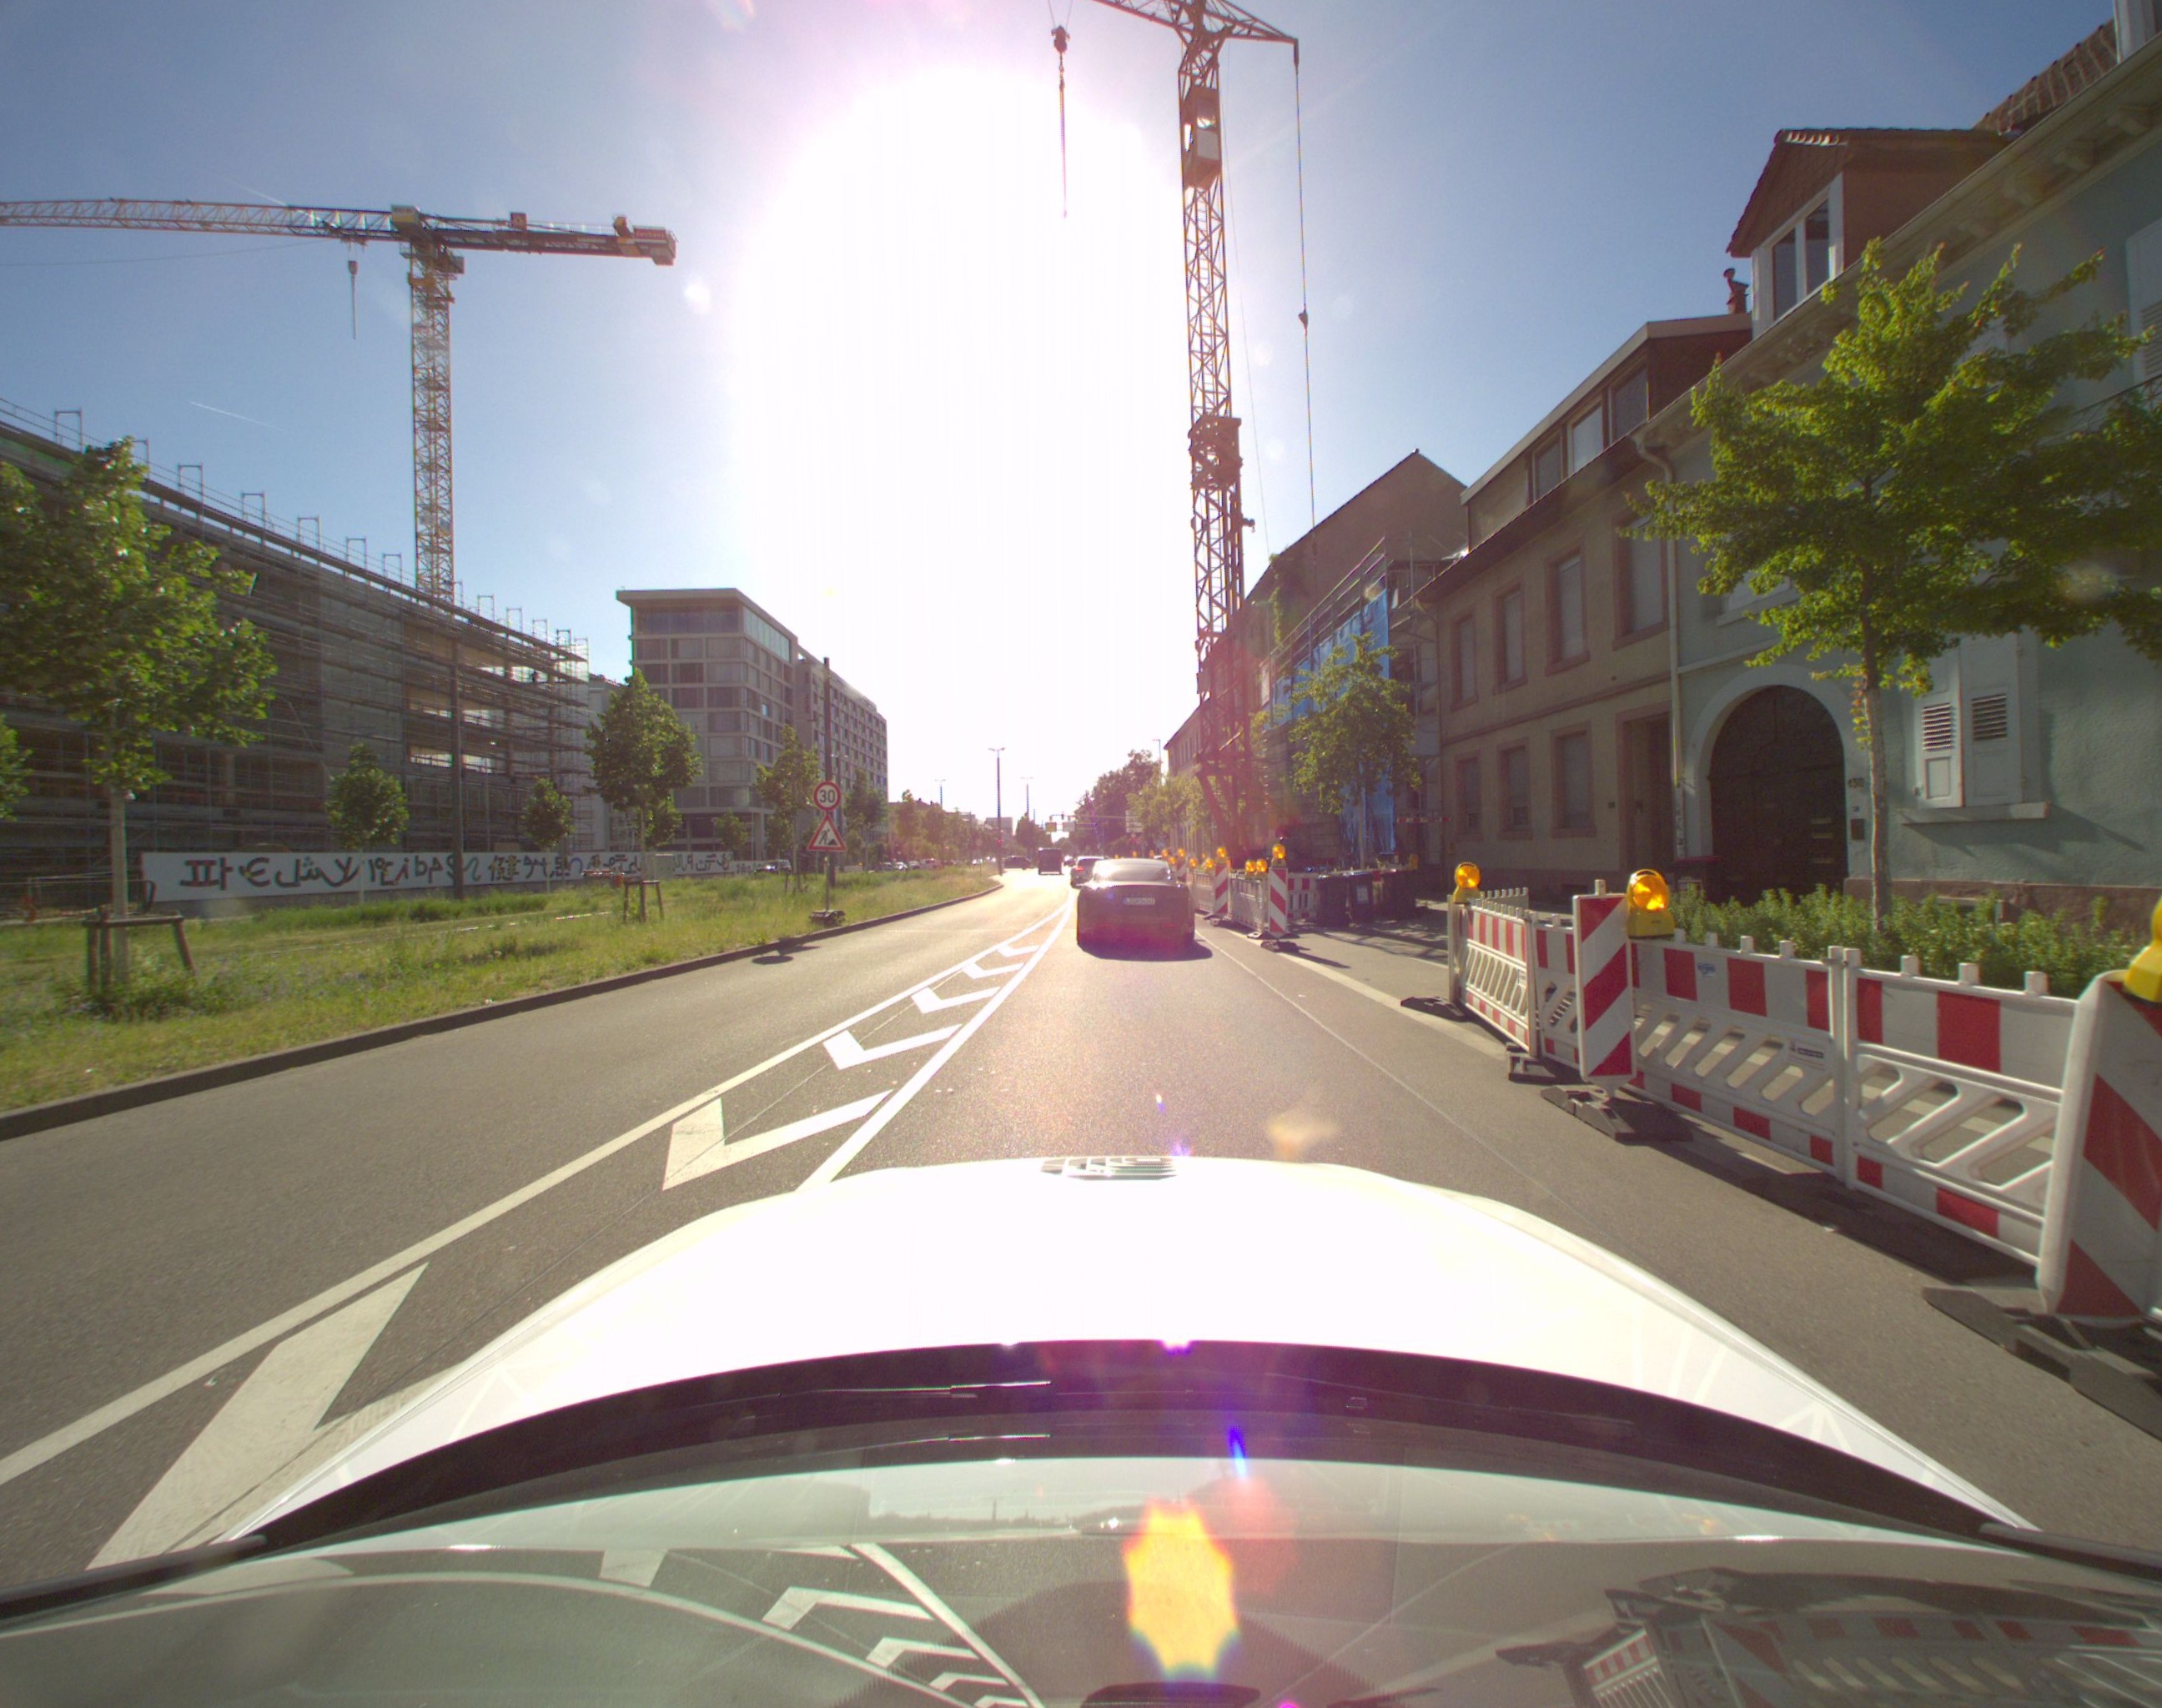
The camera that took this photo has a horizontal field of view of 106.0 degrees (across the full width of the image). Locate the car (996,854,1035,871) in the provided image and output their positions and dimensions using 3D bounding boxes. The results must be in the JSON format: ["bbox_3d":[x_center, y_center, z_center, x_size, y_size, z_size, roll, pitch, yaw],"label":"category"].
[{"bbox_3d":[-7.712,0.955,96.224,4.505,1.792,1.997,-2,0,-5],"label":"car"}]

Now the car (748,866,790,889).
[{"bbox_3d":[-29.376,2.208,76.726,1.899,1.918,4.335,-2,0,5],"label":"car"}]

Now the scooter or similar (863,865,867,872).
[{"bbox_3d":[-30.602,2.054,115.406,0.228,0.947,0.767,-2,0,0],"label":"scooter or similar"}]

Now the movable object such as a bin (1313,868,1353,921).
[{"bbox_3d":[5.267,0.844,17.043,0.586,1.058,0.730,-1,0,0],"label":"movable object such as a bin"}]

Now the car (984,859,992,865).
[{"bbox_3d":[-26.513,2.226,231.251,1.802,1.651,3.999,-2,0,0],"label":"car"}]

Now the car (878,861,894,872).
[{"bbox_3d":[-32.926,2.078,137.726,1.785,1.651,3.999,-2,0,0],"label":"car"}]

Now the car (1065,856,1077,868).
[{"bbox_3d":[-1.657,1.257,130.690,1.787,1.873,3.846,-1,0,-2],"label":"car"}]

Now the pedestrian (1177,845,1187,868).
[{"bbox_3d":[8.305,0.214,67.193,0.561,1.821,0.587,-5,0,-2],"label":"pedestrian"}]

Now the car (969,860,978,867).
[{"bbox_3d":[-29.763,2.586,225.450,1.785,1.651,3.999,-2,0,0],"label":"car"}]

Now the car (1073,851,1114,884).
[{"bbox_3d":[0.520,0.602,38.563,1.743,1.427,4.836,-1,0,-1],"label":"car"}]

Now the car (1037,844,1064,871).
[{"bbox_3d":[-2.601,0.270,70.301,2.212,2.267,4.481,-1,0,-2],"label":"car"}]

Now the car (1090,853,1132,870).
[{"bbox_3d":[3.534,0.900,96.024,4.476,1.792,2.009,-2,0,18],"label":"car"}]

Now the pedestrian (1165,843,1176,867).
[{"bbox_3d":[7.354,0.067,67.177,0.656,1.912,0.587,-5,0,-2],"label":"pedestrian"}]

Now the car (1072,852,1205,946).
[{"bbox_3d":[0.882,0.703,15.100,2.045,1.444,4.522,-1,0,-1],"label":"car"}]

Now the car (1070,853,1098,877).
[{"bbox_3d":[0.210,0.692,54.124,1.744,1.527,4.004,-1,0,0],"label":"car"}]

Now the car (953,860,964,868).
[{"bbox_3d":[-27.980,2.214,185.577,1.785,1.651,3.999,-2,0,0],"label":"car"}]

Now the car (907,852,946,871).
[{"bbox_3d":[-17.669,0.845,92.962,3.993,1.918,1.899,-2,0,-25],"label":"car"}]

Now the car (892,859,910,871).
[{"bbox_3d":[-27.373,1.659,123.885,1.785,1.651,3.999,-2,0,0],"label":"car"}]

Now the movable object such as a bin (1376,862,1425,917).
[{"bbox_3d":[6.732,0.731,17.188,0.587,1.057,0.782,-7,1,-5],"label":"movable object such as a bin"}]

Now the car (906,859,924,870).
[{"bbox_3d":[-24.818,1.558,121.715,1.785,1.651,3.999,-2,0,0],"label":"car"}]

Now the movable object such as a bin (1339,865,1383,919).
[{"bbox_3d":[5.929,0.787,17.272,0.593,1.057,0.730,-6,0,0],"label":"movable object such as a bin"}]
